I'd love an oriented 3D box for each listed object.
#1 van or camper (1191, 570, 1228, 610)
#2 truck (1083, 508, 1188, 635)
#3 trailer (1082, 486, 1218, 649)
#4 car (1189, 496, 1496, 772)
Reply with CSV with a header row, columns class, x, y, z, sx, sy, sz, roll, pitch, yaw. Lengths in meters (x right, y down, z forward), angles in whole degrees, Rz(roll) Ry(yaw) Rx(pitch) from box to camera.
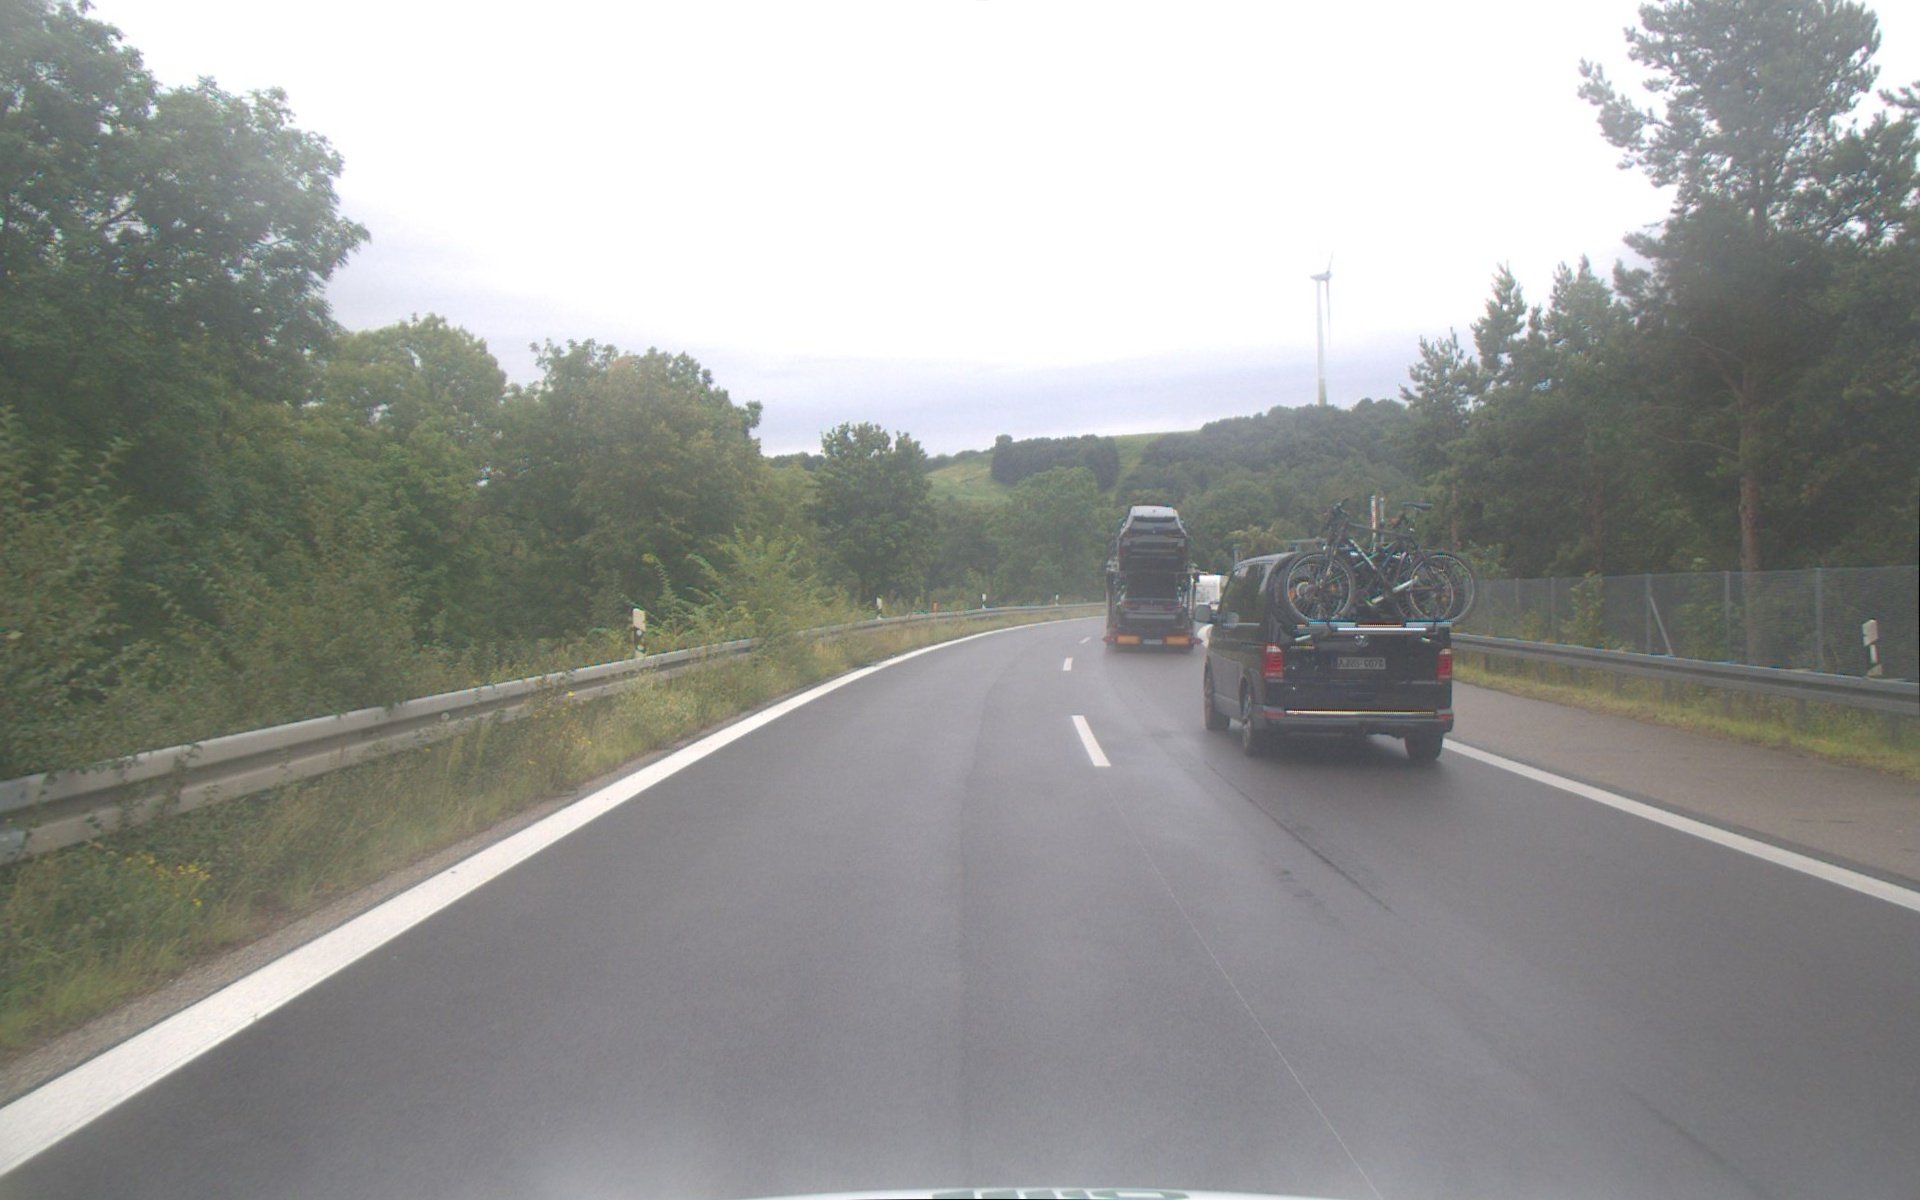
class,x,y,z,sx,sy,sz,roll,pitch,yaw
van or camper,14.653,-0.568,97.046,2.047,2.270,4.435,1,0,9
truck,6.149,-0.973,59.611,3.323,4.069,10.853,1,0,4
trailer,5.287,-0.876,48.202,3.376,4.069,12.033,1,0,4
car,3.674,0.248,17.092,2.066,2.304,5.899,1,1,3
